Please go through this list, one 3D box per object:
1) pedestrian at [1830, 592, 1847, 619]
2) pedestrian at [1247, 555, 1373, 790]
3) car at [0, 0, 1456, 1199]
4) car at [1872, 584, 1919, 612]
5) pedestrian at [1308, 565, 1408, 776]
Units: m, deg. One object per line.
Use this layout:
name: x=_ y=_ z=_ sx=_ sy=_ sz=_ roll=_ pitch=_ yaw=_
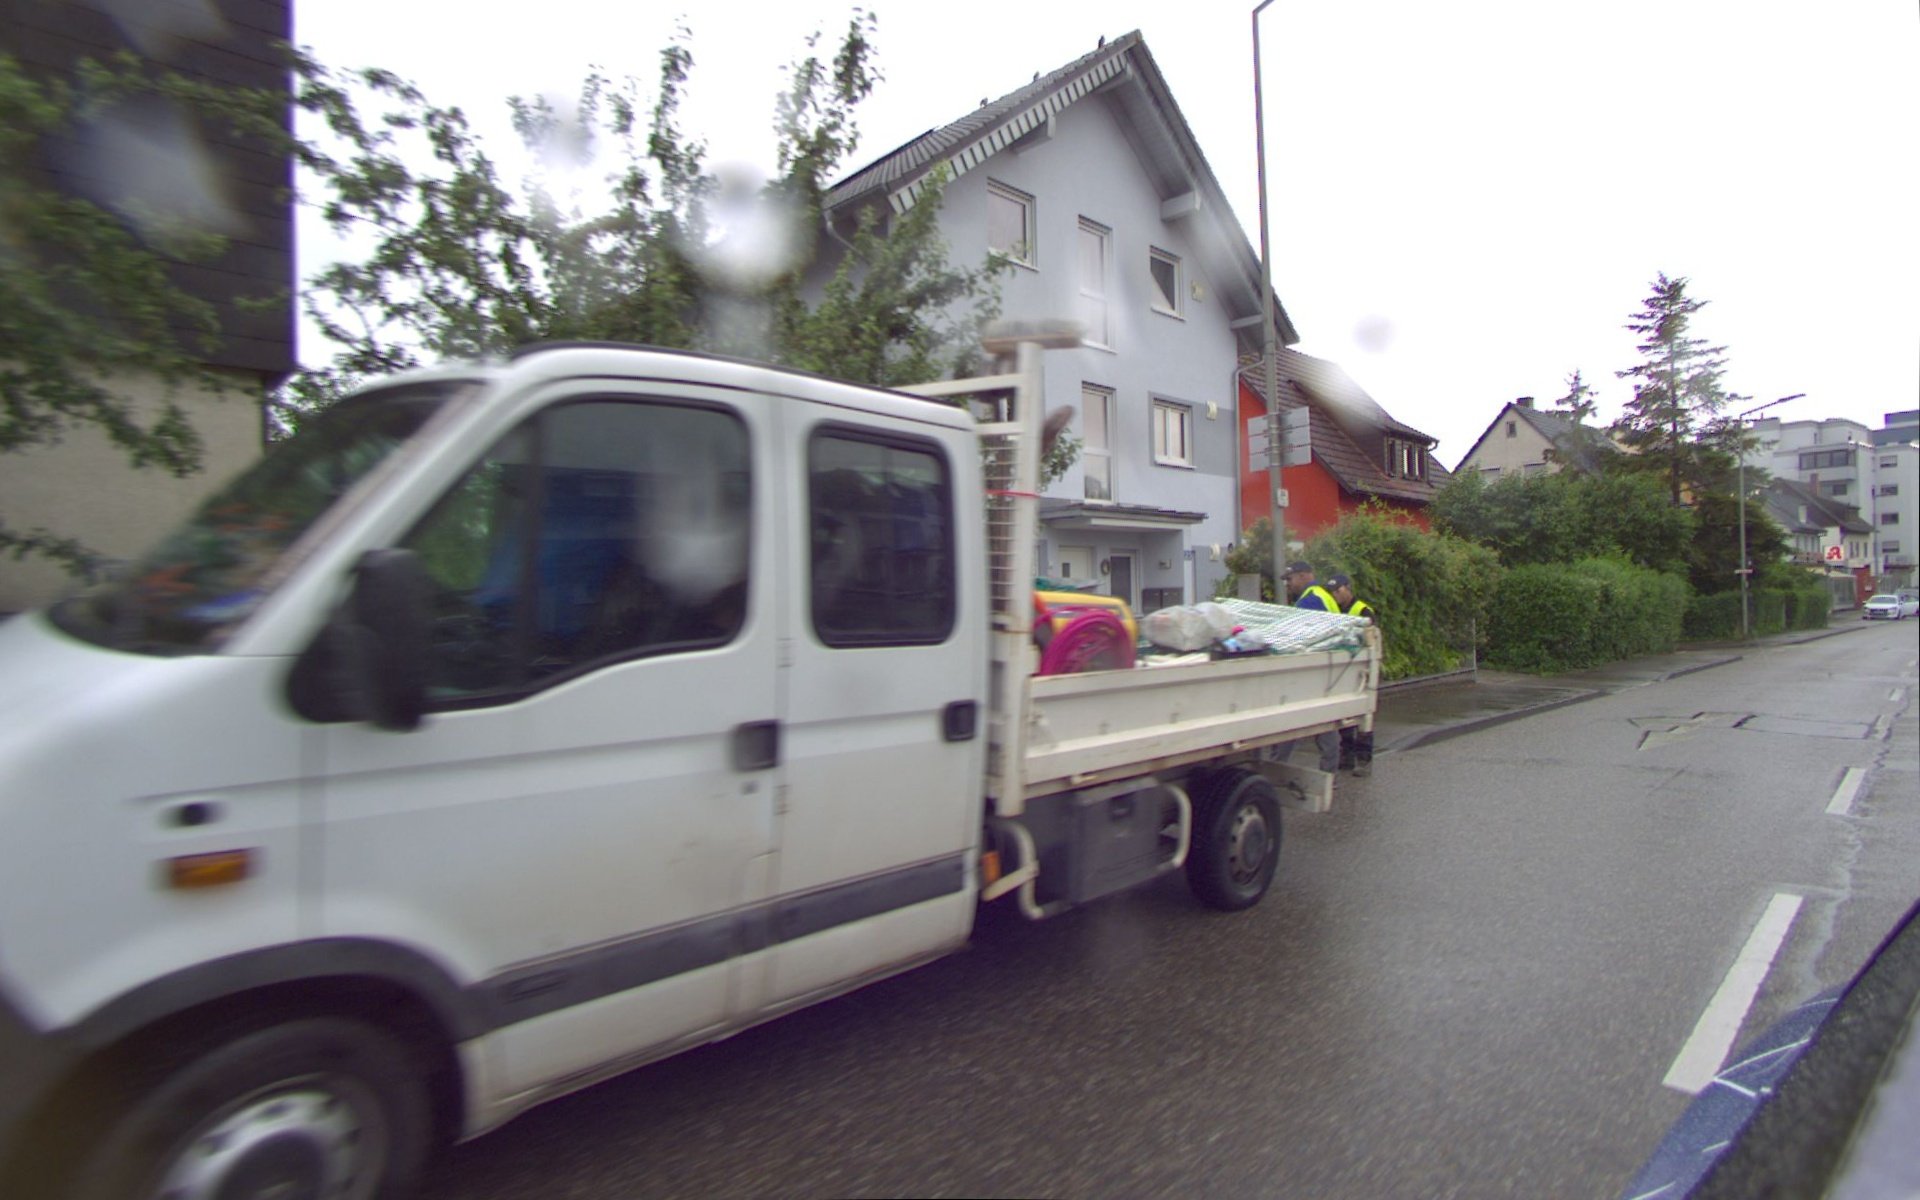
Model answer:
pedestrian: x=53.828 y=0.356 z=62.006 sx=0.695 sy=1.652 sz=0.611 roll=-1 pitch=-1 yaw=44
pedestrian: x=2.773 y=0.521 z=7.994 sx=0.706 sy=1.728 sz=0.881 roll=2 pitch=1 yaw=34
car: x=-0.293 y=0.178 z=4.234 sx=2.392 sy=2.462 sz=6.329 roll=0 pitch=0 yaw=45
car: x=56.847 y=-0.145 z=61.336 sx=3.637 sy=1.653 sz=1.911 roll=-1 pitch=0 yaw=-41
pedestrian: x=3.419 y=0.557 z=8.666 sx=0.573 sy=1.684 sz=0.932 roll=2 pitch=1 yaw=34
